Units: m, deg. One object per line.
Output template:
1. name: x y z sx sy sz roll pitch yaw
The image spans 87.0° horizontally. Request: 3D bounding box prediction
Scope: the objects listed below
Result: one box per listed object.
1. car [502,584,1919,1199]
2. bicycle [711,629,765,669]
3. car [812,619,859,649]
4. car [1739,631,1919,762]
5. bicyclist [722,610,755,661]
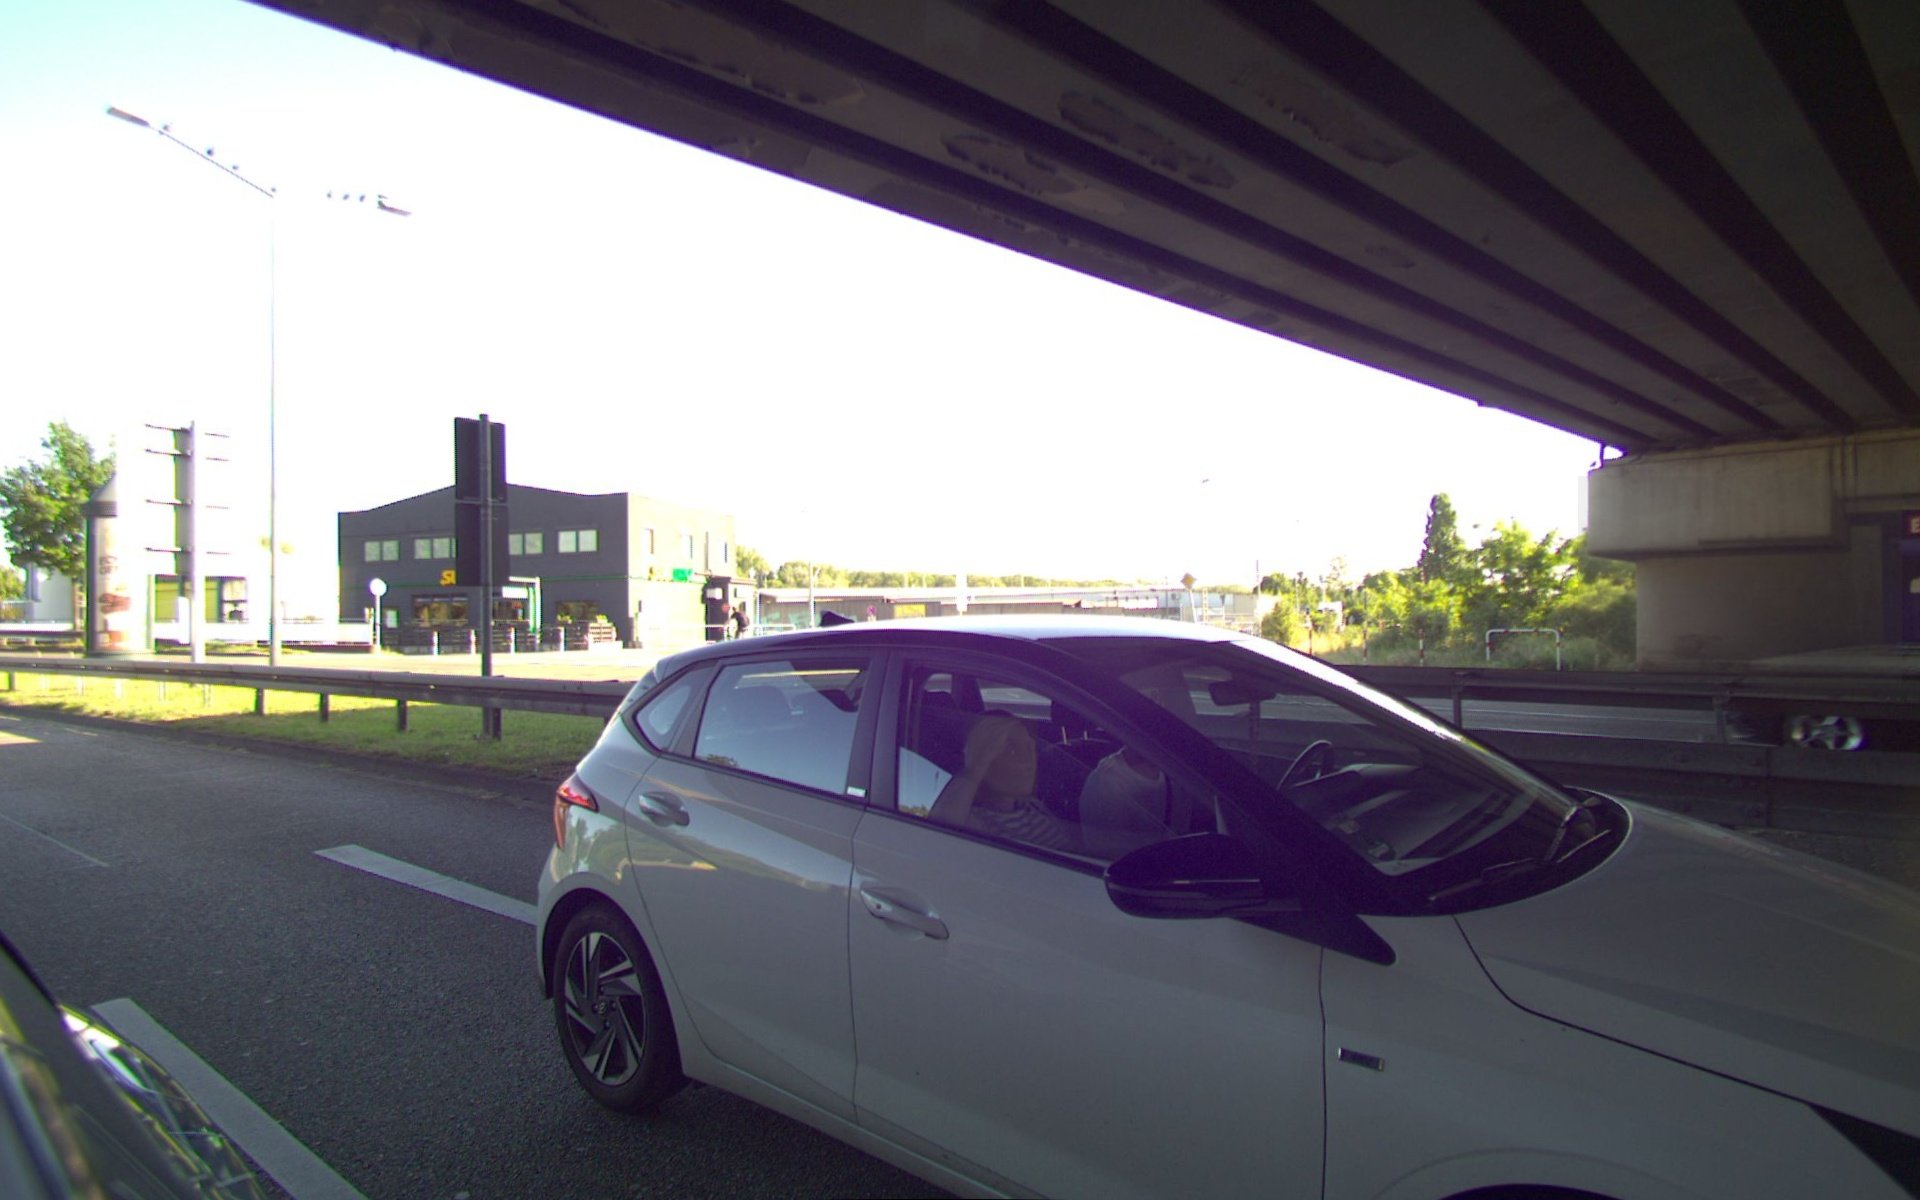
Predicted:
1. car: 0.586 0.694 2.658 3.867 1.414 1.715 0 1 39
2. bicycle: -6.898 1.490 31.398 1.877 1.174 0.627 -1 0 41
3. car: -6.718 1.828 55.015 1.858 1.453 3.996 -1 0 3
4. car: 9.774 0.887 9.375 3.996 1.185 1.667 -2 -3 40
5. bicyclist: -6.857 1.079 31.352 0.836 1.536 0.621 -1 0 41
